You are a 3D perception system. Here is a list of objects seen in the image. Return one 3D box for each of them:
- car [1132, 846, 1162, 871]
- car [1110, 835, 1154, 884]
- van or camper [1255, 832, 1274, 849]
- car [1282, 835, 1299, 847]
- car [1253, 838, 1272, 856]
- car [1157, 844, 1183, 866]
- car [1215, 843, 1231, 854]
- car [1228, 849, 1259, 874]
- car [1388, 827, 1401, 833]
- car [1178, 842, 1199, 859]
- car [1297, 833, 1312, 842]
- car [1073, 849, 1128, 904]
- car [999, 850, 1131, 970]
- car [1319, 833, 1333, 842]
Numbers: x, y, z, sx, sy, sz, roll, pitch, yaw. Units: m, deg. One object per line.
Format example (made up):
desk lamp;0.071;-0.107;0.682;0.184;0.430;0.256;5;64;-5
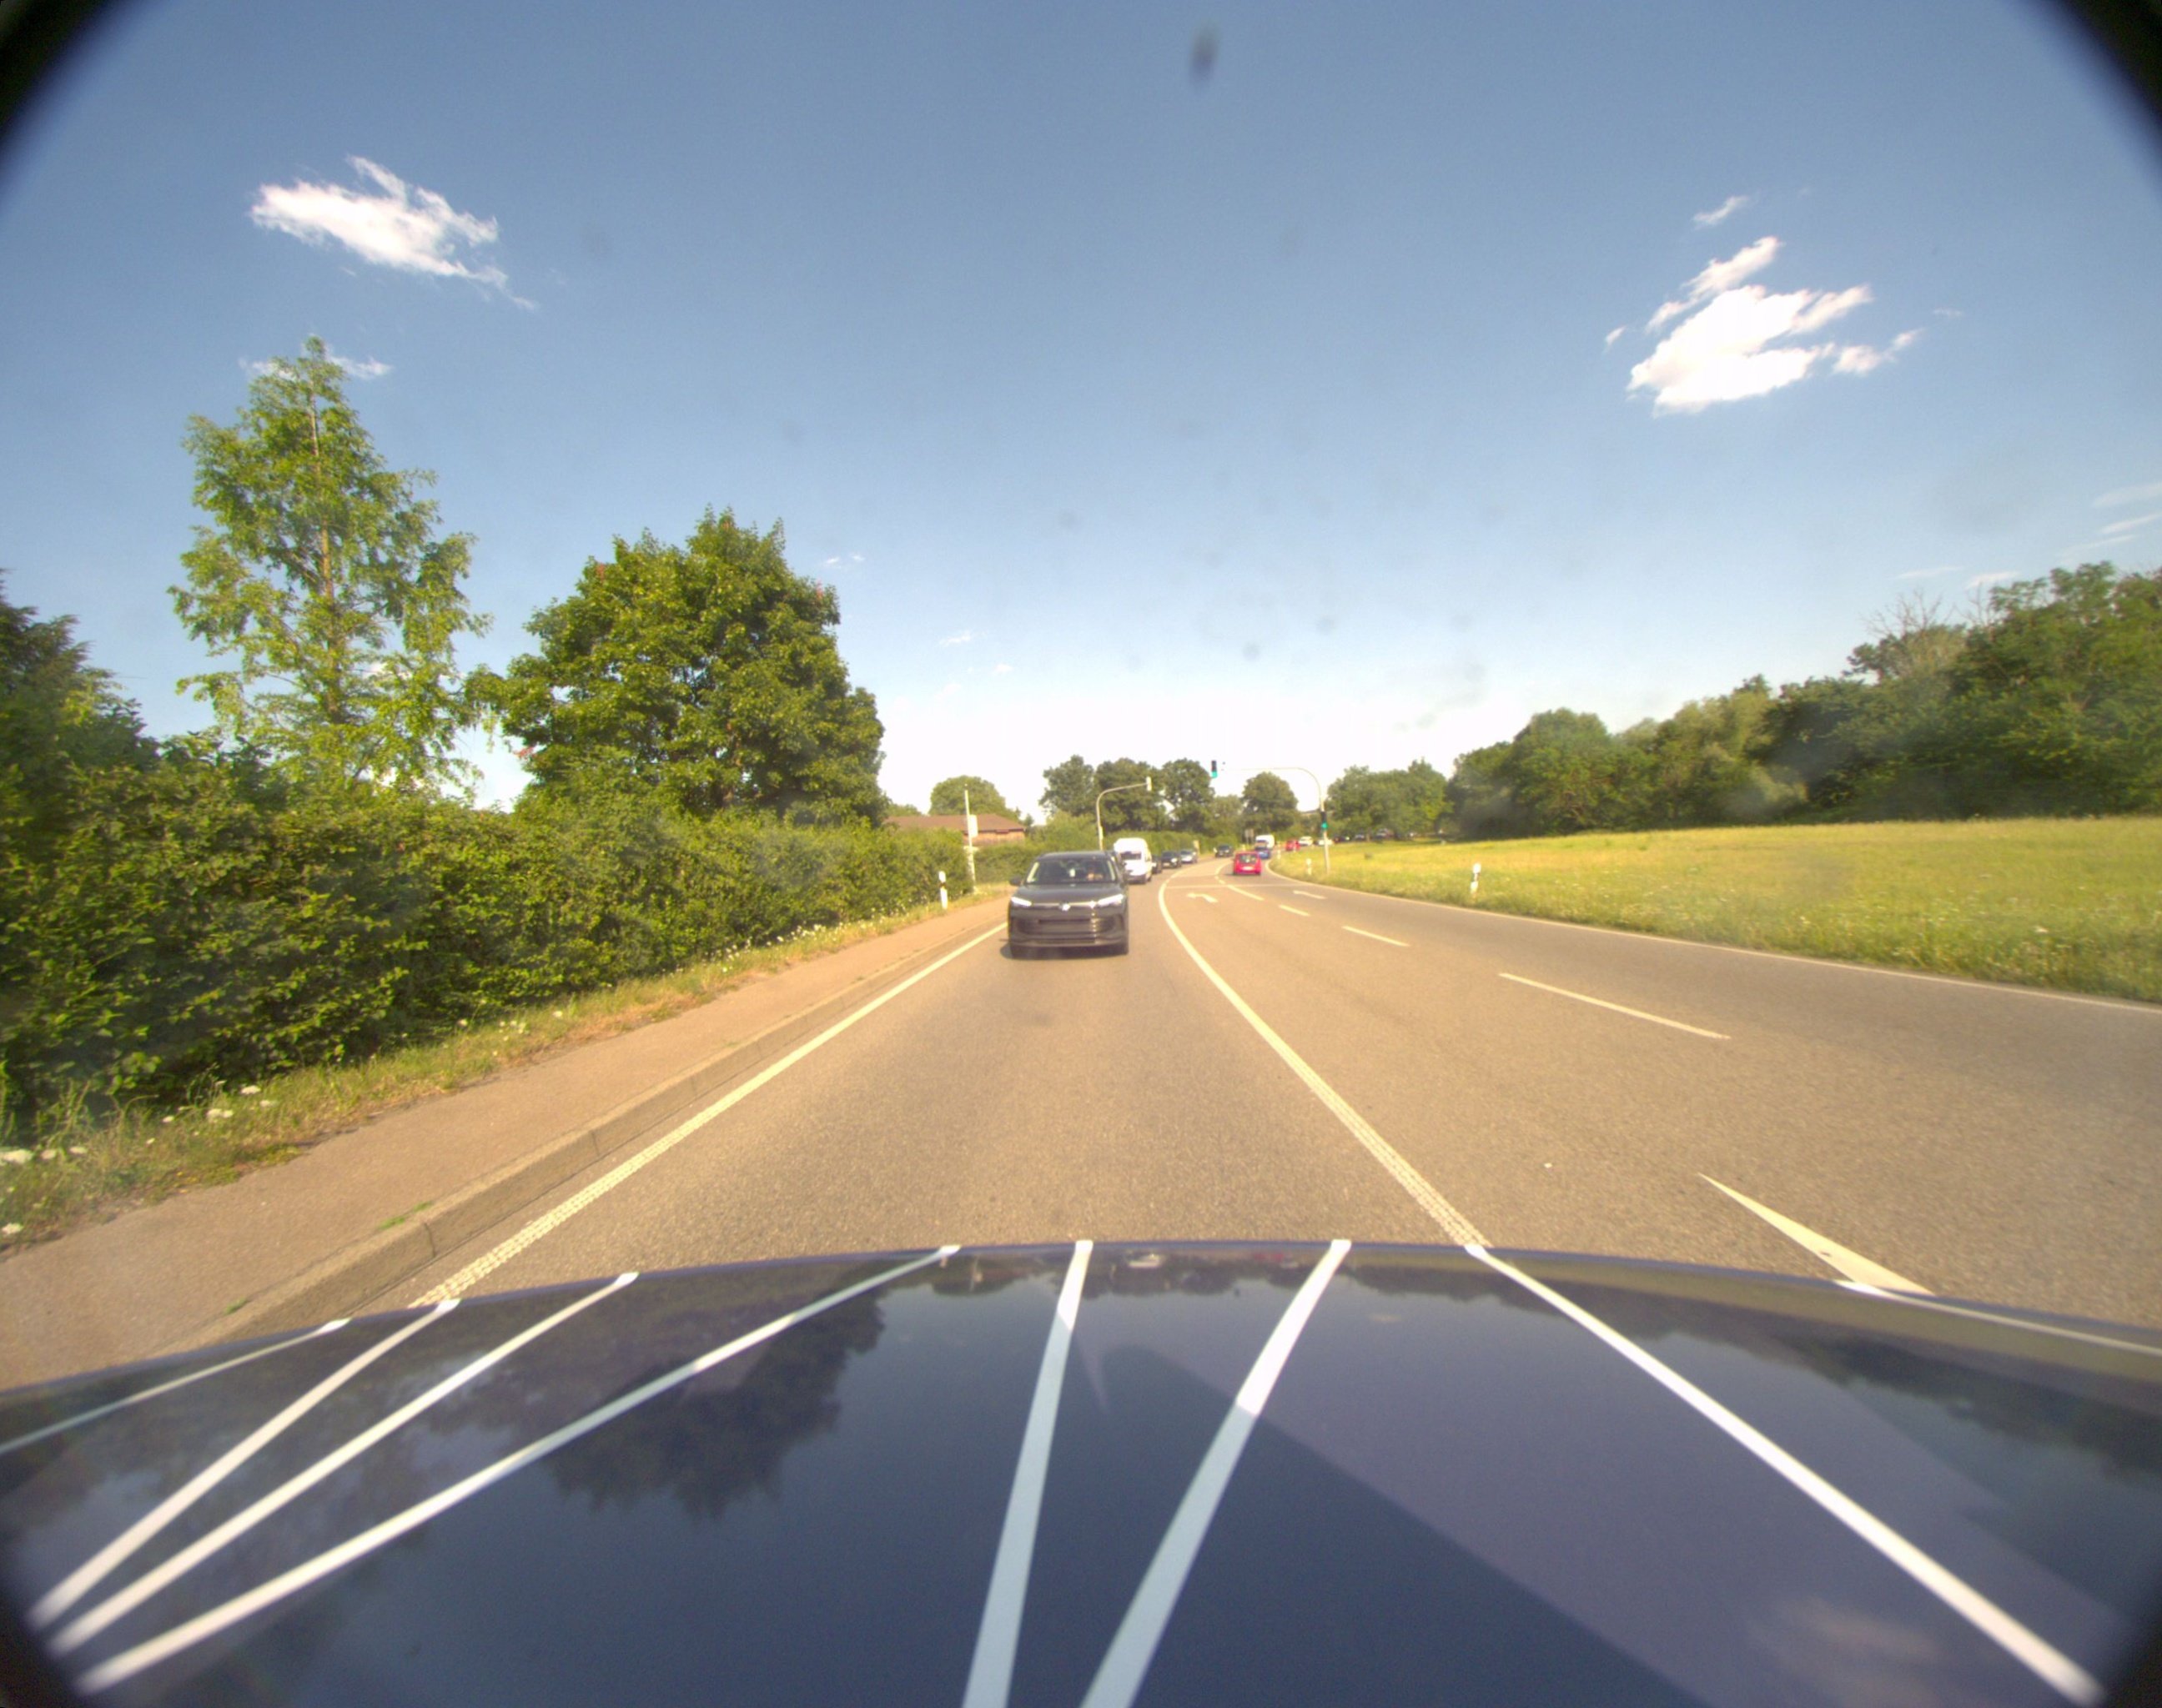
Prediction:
car;4.646;0.290;53.183;1.692;1.718;3.671;0;1;11
car;2.710;0.235;39.544;1.843;2.338;4.791;-1;1;8
van or camper;30.594;-2.274;126.326;2.031;2.461;5.084;-4;0;24
car;33.654;-2.088;121.966;1.882;1.765;4.329;-1;0;26
car;20.244;-0.768;84.621;1.726;1.871;4.341;-1;0;18
car;7.537;0.044;64.247;1.672;1.718;3.671;-1;2;14
car;18.279;-0.714;97.830;1.605;1.471;3.621;0;1;18
car;10.112;0.428;47.448;1.588;1.458;3.609;-1;0;8
car;77.587;-6.034;187.992;1.746;1.458;3.486;0;2;42
car;10.787;-0.326;76.150;1.633;1.550;3.420;-1;2;15
car;44.692;-3.230;152.078;1.995;1.543;4.006;-4;0;29
car;0.733;0.710;25.987;1.659;1.720;3.805;-1;0;4
car;-0.150;0.798;12.885;1.865;1.633;4.000;-1;1;2
car;47.878;-3.172;148.477;1.881;1.577;4.338;-1;0;29
